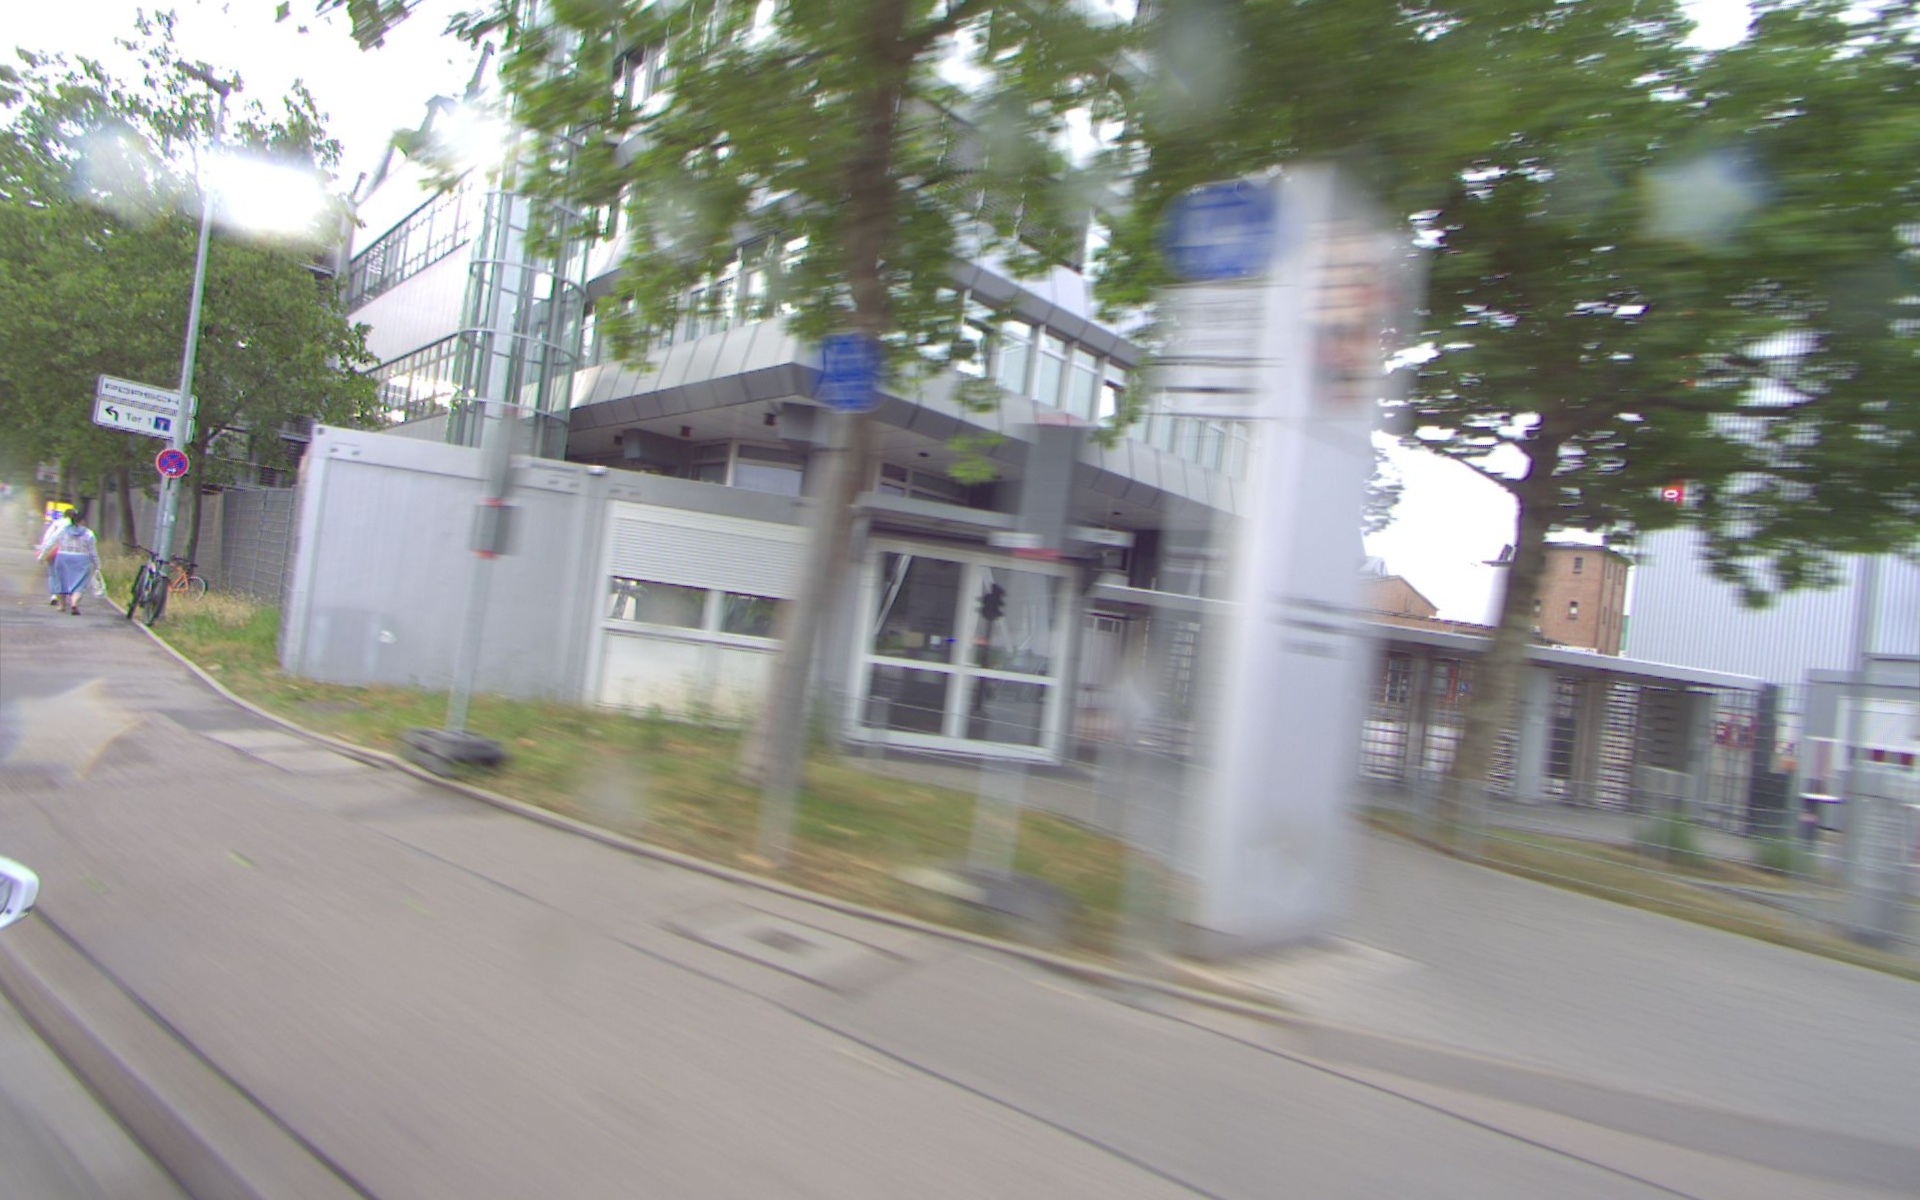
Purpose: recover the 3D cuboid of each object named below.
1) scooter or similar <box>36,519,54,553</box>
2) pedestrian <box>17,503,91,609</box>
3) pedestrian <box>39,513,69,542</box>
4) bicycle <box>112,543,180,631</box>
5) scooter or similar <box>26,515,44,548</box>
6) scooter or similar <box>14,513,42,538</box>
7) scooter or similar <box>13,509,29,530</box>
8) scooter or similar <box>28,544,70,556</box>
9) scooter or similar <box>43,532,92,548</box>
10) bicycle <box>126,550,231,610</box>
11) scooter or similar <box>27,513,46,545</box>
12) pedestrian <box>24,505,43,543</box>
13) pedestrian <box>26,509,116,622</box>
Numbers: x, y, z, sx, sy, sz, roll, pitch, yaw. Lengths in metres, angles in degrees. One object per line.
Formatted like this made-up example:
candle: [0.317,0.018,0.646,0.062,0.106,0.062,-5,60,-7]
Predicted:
scooter or similar: [-35.879,-2.520,39.427,0.387,1.241,1.060,7,0,-44]
pedestrian: [-14.808,-0.724,16.463,0.706,1.611,0.831,7,-1,-40]
pedestrian: [-45.829,-3.651,50.909,0.946,1.332,0.678,8,-1,-38]
bicycle: [-12.087,-0.214,14.915,1.945,1.132,0.341,6,-1,40]
scooter or similar: [-38.323,-2.836,41.679,0.432,1.285,1.179,7,0,-44]
scooter or similar: [-51.964,-4.144,56.111,0.694,1.259,1.905,7,-1,-32]
scooter or similar: [-67.194,-5.763,71.983,0.606,1.382,1.900,7,-1,-39]
scooter or similar: [-34.798,-1.913,38.425,1.497,0.249,0.655,7,-1,24]
scooter or similar: [-41.429,-2.772,46.704,1.548,0.525,0.639,8,-1,-28]
bicycle: [-15.610,-0.388,20.107,1.669,0.965,0.514,7,-1,6]
scooter or similar: [-41.424,-3.180,45.106,0.501,1.308,1.416,7,0,-44]
pedestrian: [-43.738,-3.599,47.485,0.653,1.687,0.480,7,0,44]
pedestrian: [-13.169,-0.512,14.905,0.829,1.538,0.831,8,-1,-45]
